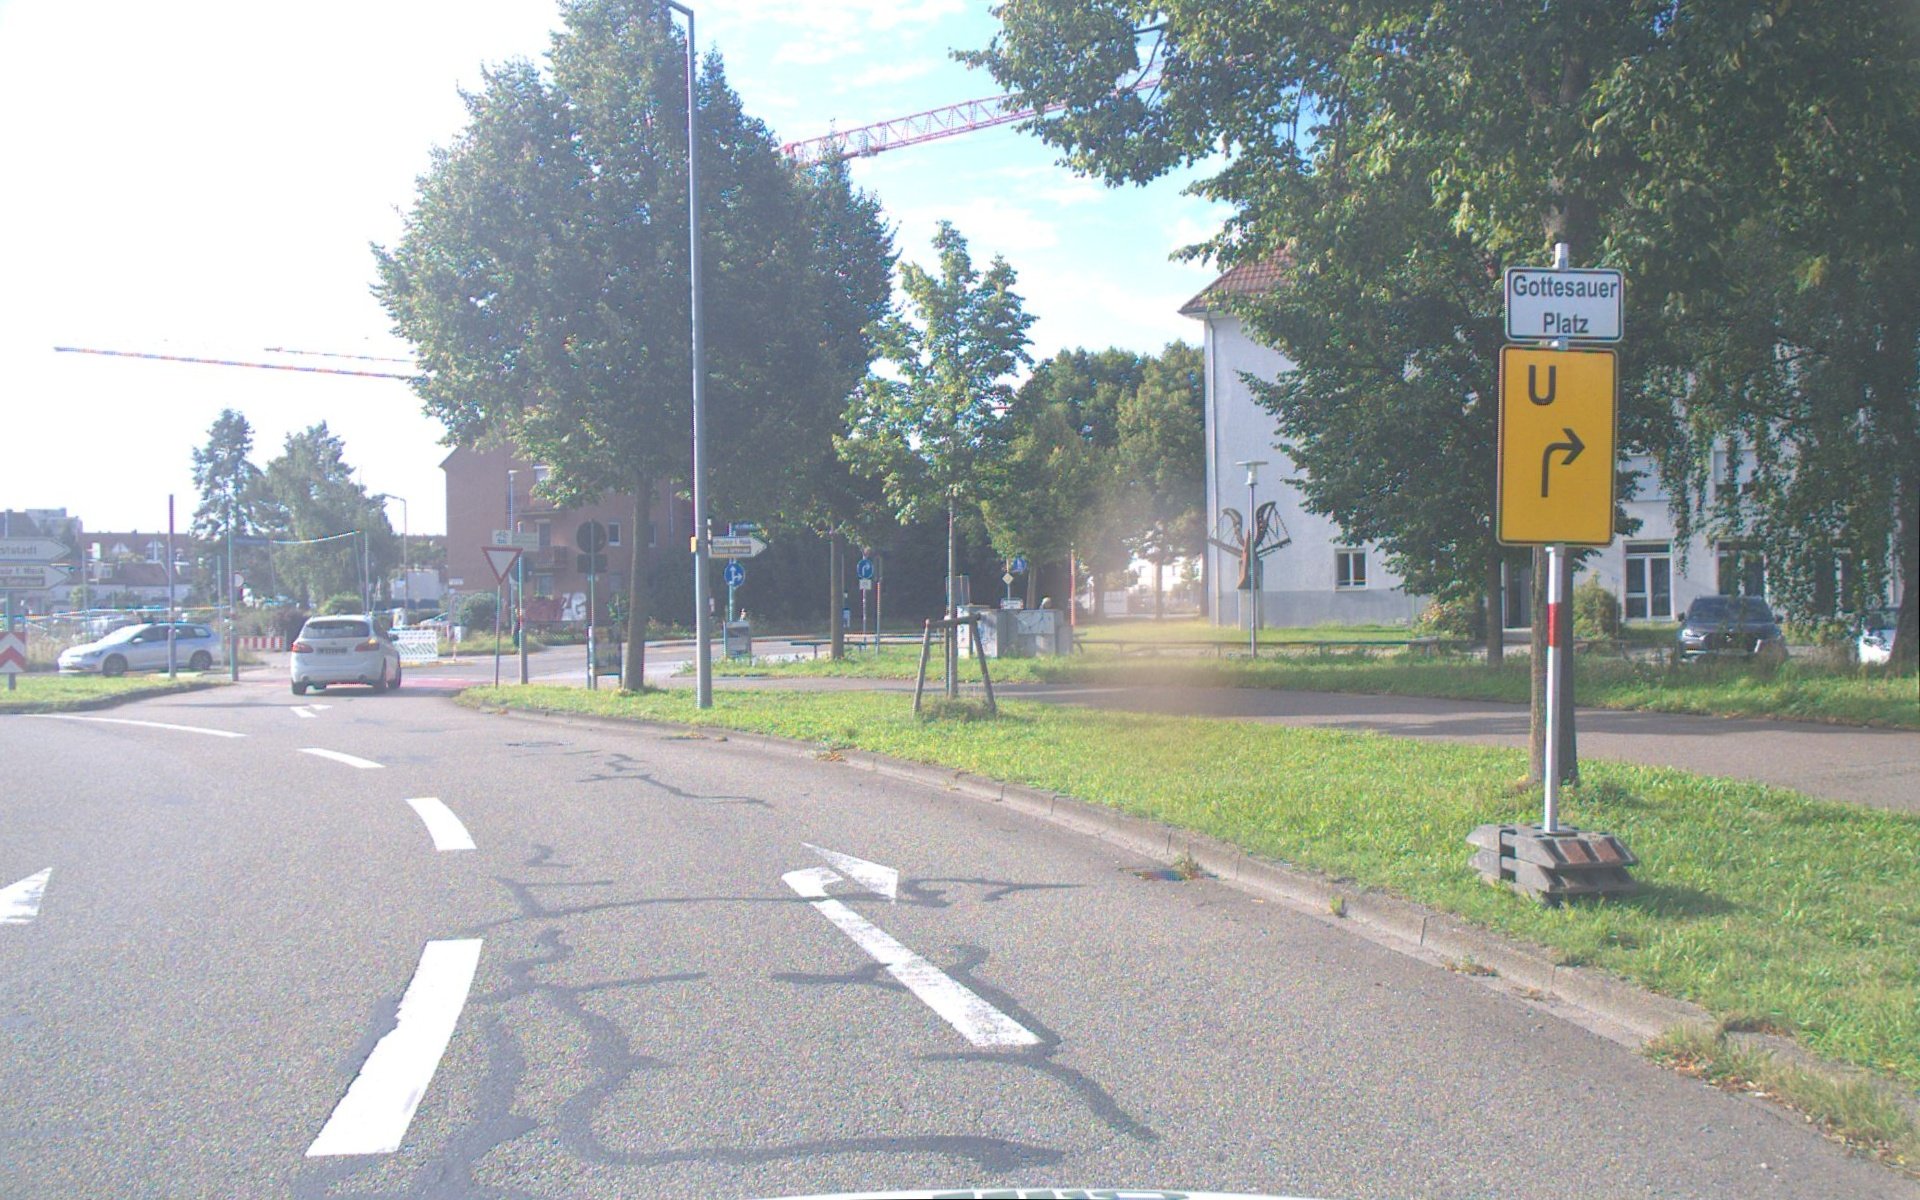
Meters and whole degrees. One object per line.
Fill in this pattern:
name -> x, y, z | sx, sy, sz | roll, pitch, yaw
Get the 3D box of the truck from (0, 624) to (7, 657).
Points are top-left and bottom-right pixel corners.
truck -> -67.156, 2.802, 112.885 | 5.304, 2.210, 1.971 | -2, -1, 40

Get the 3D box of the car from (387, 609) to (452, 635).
car -> -35.144, 1.421, 107.504 | 3.930, 1.646, 1.762 | -1, 0, -21

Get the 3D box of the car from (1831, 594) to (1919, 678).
car -> 17.496, 0.625, 30.955 | 1.818, 1.465, 4.730 | -1, 0, 25

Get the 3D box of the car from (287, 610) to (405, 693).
car -> -12.791, 1.019, 34.688 | 1.819, 1.600, 4.438 | 0, 0, -14

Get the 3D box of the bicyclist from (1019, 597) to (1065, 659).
bicyclist -> 2.114, 0.720, 42.864 | 0.939, 1.602, 0.770 | 0, 0, 31

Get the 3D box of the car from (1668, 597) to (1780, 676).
car -> 14.750, 0.658, 31.982 | 1.818, 1.405, 4.512 | -1, 0, 25

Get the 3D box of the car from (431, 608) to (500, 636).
car -> -30.743, 1.390, 102.883 | 3.915, 1.646, 1.769 | -1, 0, -11

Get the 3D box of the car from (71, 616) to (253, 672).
car -> -22.813, 1.236, 47.456 | 1.783, 1.478, 4.535 | -1, 0, 29

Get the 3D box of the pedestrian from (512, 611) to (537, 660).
pedestrian -> -17.279, 1.405, 65.589 | 0.653, 1.903, 0.836 | -1, -1, 7
